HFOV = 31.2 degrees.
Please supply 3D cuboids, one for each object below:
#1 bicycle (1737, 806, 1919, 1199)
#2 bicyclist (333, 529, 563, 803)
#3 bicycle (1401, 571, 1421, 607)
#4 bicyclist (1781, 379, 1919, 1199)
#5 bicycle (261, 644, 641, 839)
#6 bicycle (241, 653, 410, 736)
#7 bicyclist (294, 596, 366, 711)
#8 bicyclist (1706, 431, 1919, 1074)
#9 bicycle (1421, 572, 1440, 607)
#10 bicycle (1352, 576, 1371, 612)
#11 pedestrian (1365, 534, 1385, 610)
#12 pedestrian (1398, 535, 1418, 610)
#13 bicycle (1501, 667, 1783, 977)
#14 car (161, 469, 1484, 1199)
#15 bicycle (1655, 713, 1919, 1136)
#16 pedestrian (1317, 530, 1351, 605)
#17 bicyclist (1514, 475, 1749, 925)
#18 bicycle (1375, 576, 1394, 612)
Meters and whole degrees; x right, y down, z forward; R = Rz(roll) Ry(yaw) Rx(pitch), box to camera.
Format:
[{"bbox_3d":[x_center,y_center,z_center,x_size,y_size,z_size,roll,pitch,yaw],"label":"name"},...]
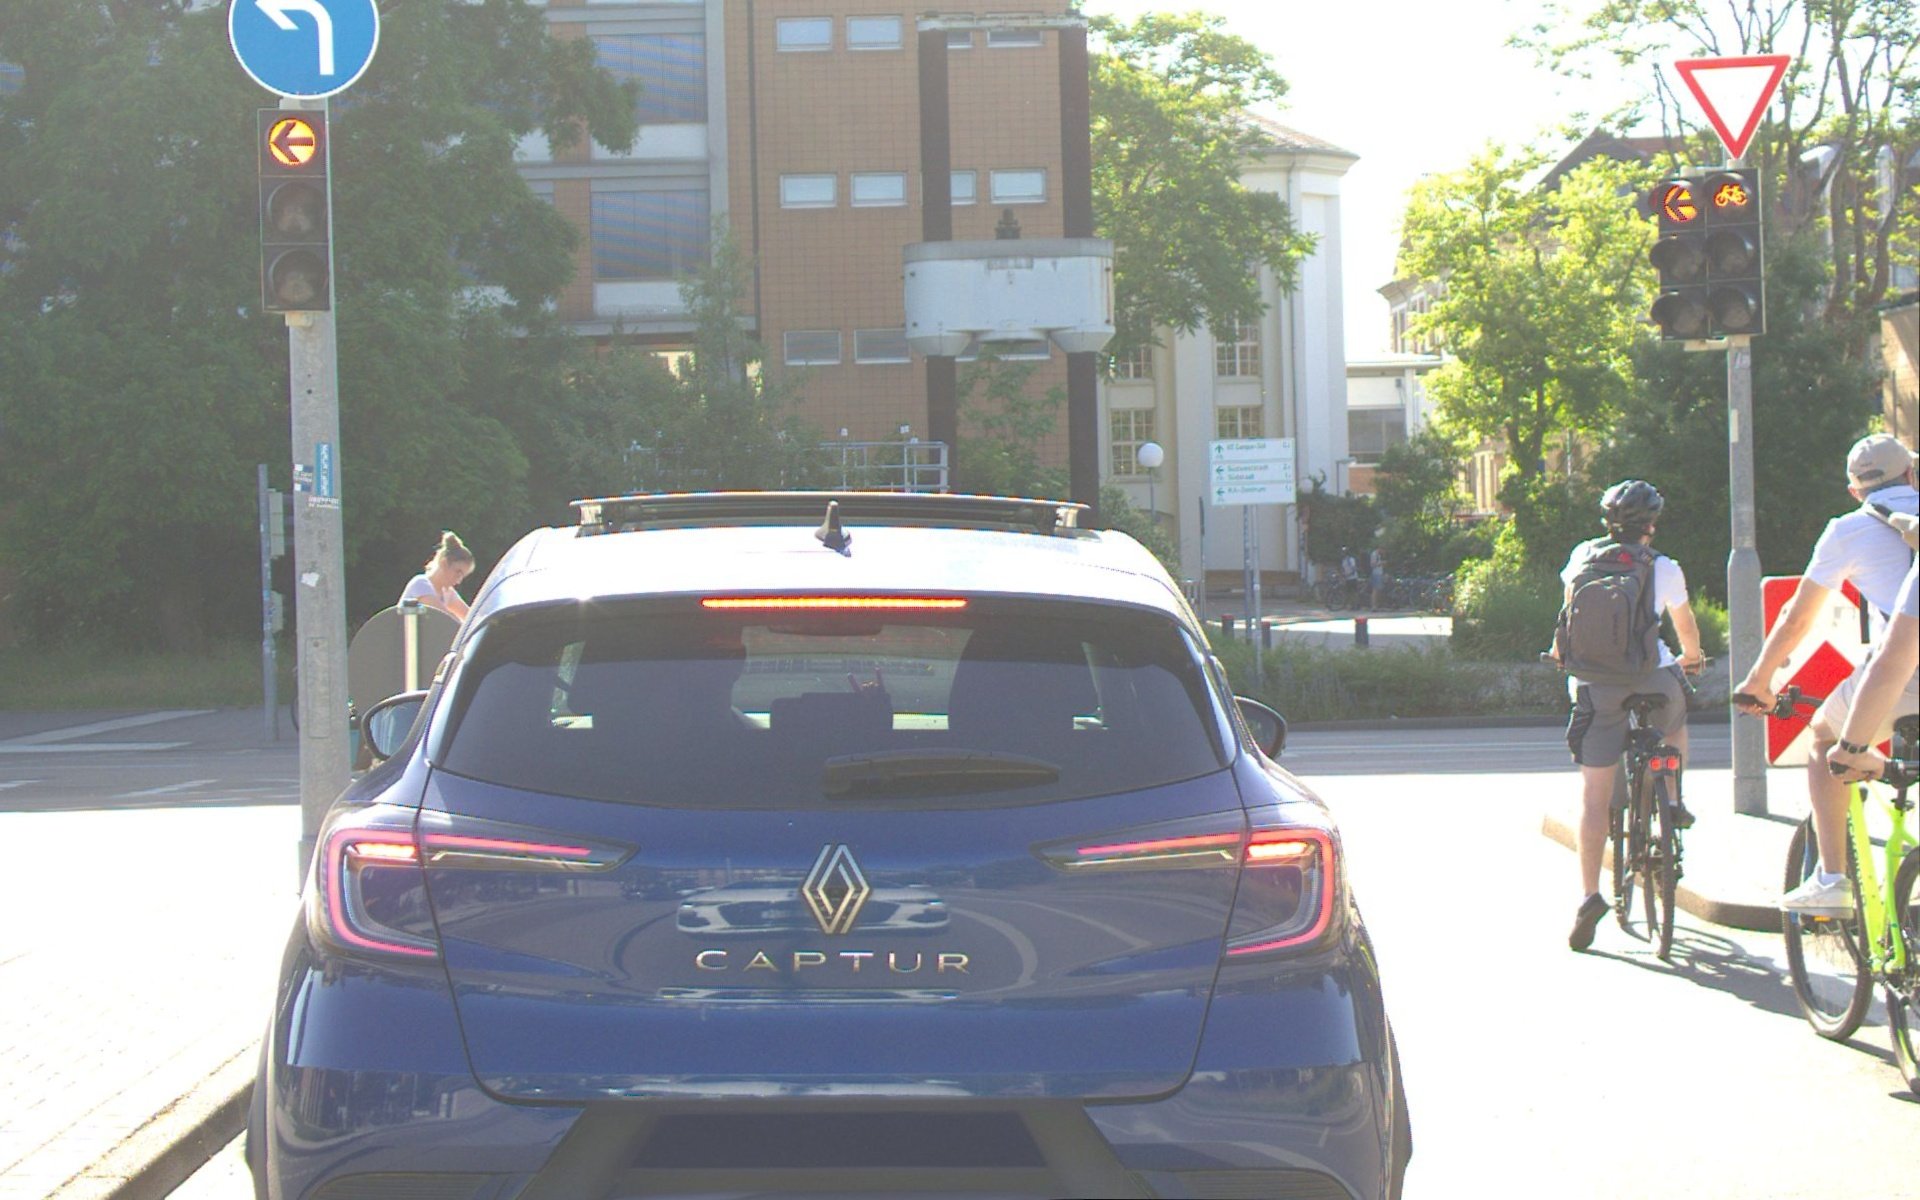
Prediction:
[{"bbox_3d":[2.232,0.955,7.265,0.740,0.893,1.978,1,1,1],"label":"bicycle"},{"bbox_3d":[-2.931,0.372,19.756,1.069,1.494,0.741,-3,0,8],"label":"bicyclist"},{"bbox_3d":[12.384,-0.301,94.412,0.405,0.969,1.683,1,1,4],"label":"bicycle"},{"bbox_3d":[2.236,0.398,7.254,0.751,1.663,1.016,1,0,1],"label":"bicyclist"},{"bbox_3d":[-2.913,0.807,19.751,1.985,0.992,0.741,-3,0,8],"label":"bicycle"},{"bbox_3d":[-8.077,1.192,43.778,2.005,0.961,0.598,-2,1,-27],"label":"bicycle"},{"bbox_3d":[-8.030,0.679,43.796,0.737,1.436,0.598,-2,1,-27],"label":"bicyclist"},{"bbox_3d":[2.627,0.409,9.819,0.645,1.733,1.067,1,0,-6],"label":"bicyclist"},{"bbox_3d":[12.920,-0.294,94.425,0.405,0.969,1.683,1,1,4],"label":"bicycle"},{"bbox_3d":[10.994,-0.174,94.089,0.405,0.969,1.683,1,1,4],"label":"bicycle"},{"bbox_3d":[10.984,-0.747,91.052,0.475,2.007,0.523,-1,1,6],"label":"pedestrian"},{"bbox_3d":[12.041,-0.746,92.403,0.475,2.007,0.468,-1,1,6],"label":"pedestrian"},{"bbox_3d":[2.515,0.784,12.910,0.739,0.992,2.173,1,1,3],"label":"bicycle"},{"bbox_3d":[-0.264,0.616,6.705,1.803,1.626,4.000,0,1,-2],"label":"car"},{"bbox_3d":[2.616,0.868,9.830,0.659,0.999,1.970,1,1,-6],"label":"bicycle"},{"bbox_3d":[10.157,-0.885,93.390,0.859,2.007,0.468,-1,1,6],"label":"pedestrian"},{"bbox_3d":[2.512,0.358,12.954,0.726,1.623,0.969,1,0,4],"label":"bicyclist"},{"bbox_3d":[11.616,-0.165,94.046,0.405,0.969,1.683,1,1,4],"label":"bicycle"}]
